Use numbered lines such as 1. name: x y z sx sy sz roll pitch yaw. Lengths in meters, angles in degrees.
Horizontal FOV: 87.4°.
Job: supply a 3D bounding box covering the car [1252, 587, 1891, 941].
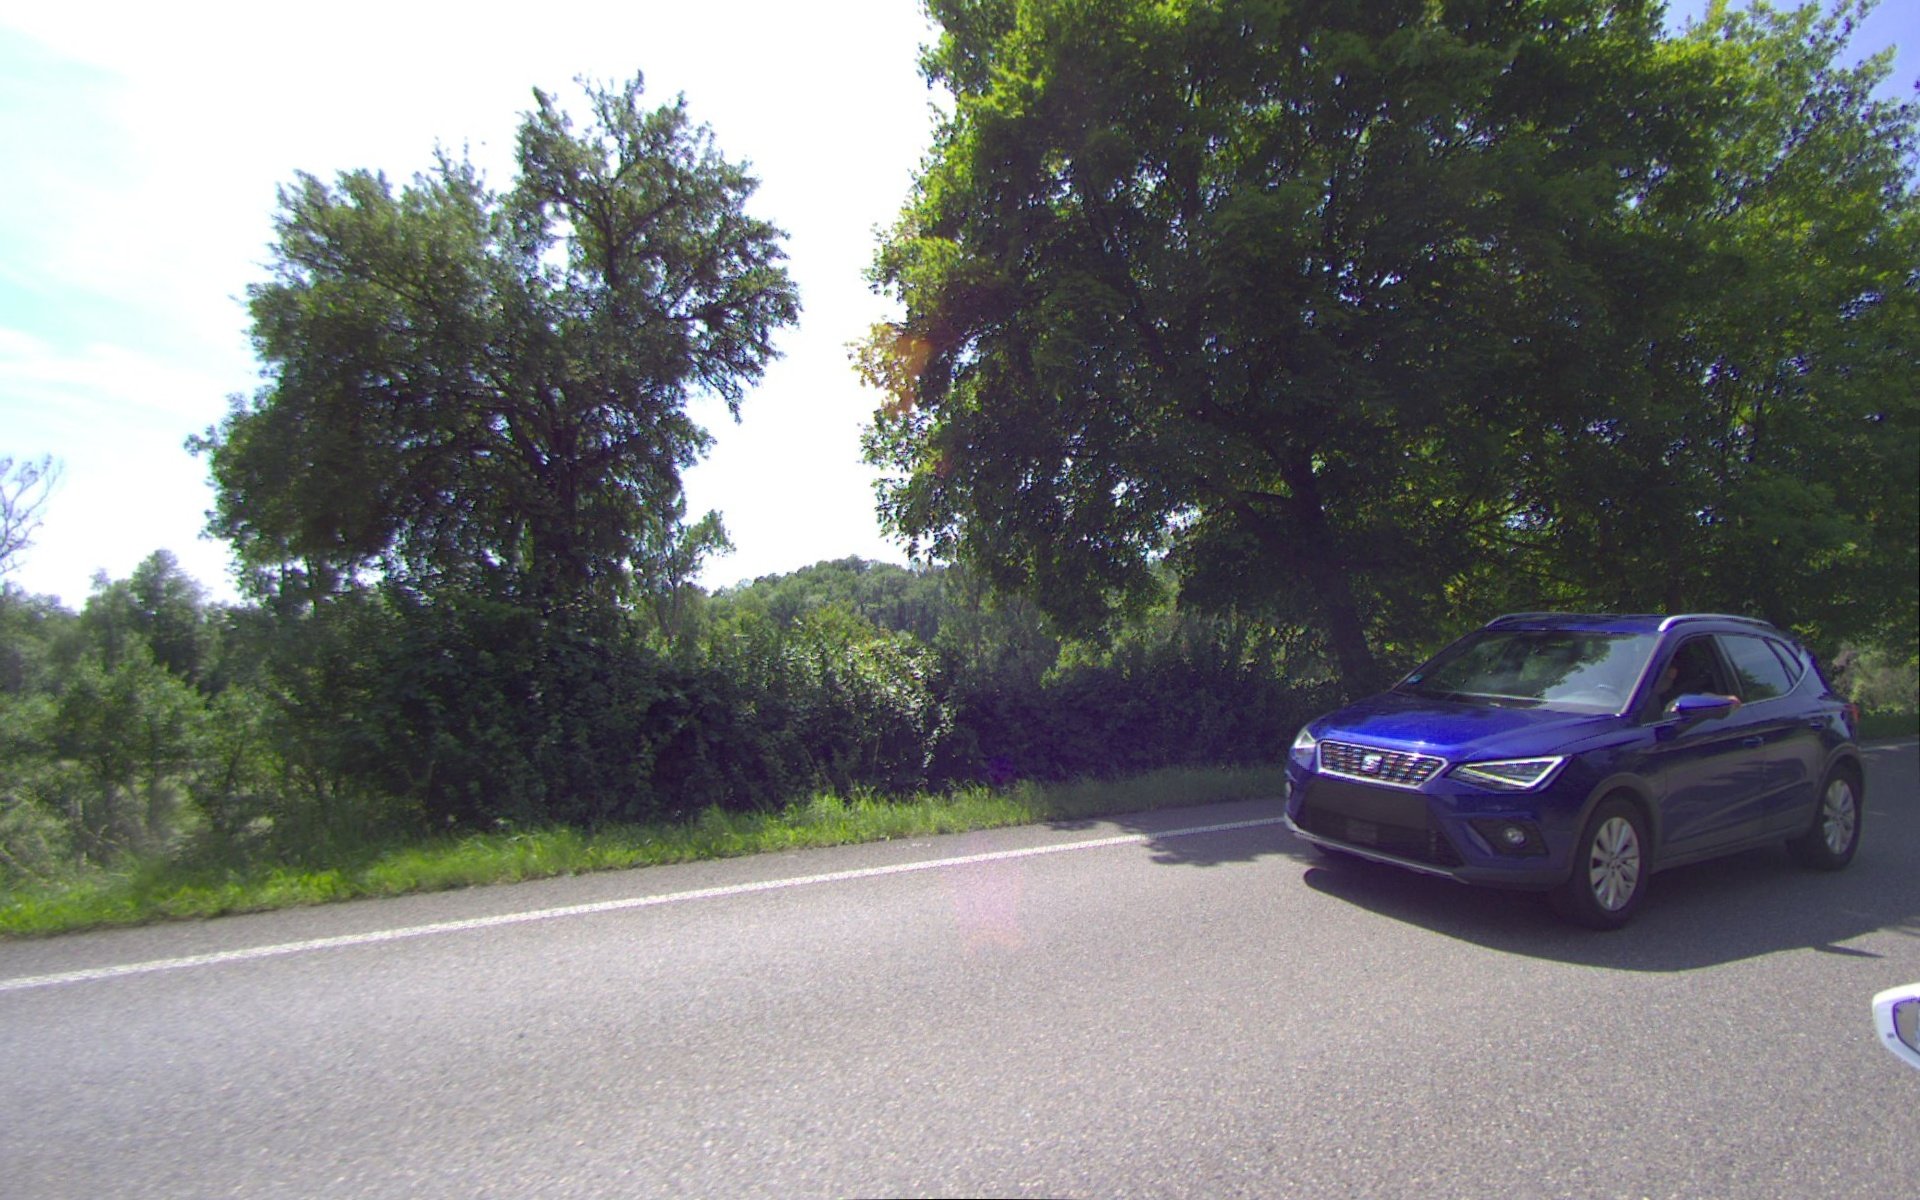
1. car: 3.801 0.779 6.116 3.911 1.551 1.662 2 -2 -30
